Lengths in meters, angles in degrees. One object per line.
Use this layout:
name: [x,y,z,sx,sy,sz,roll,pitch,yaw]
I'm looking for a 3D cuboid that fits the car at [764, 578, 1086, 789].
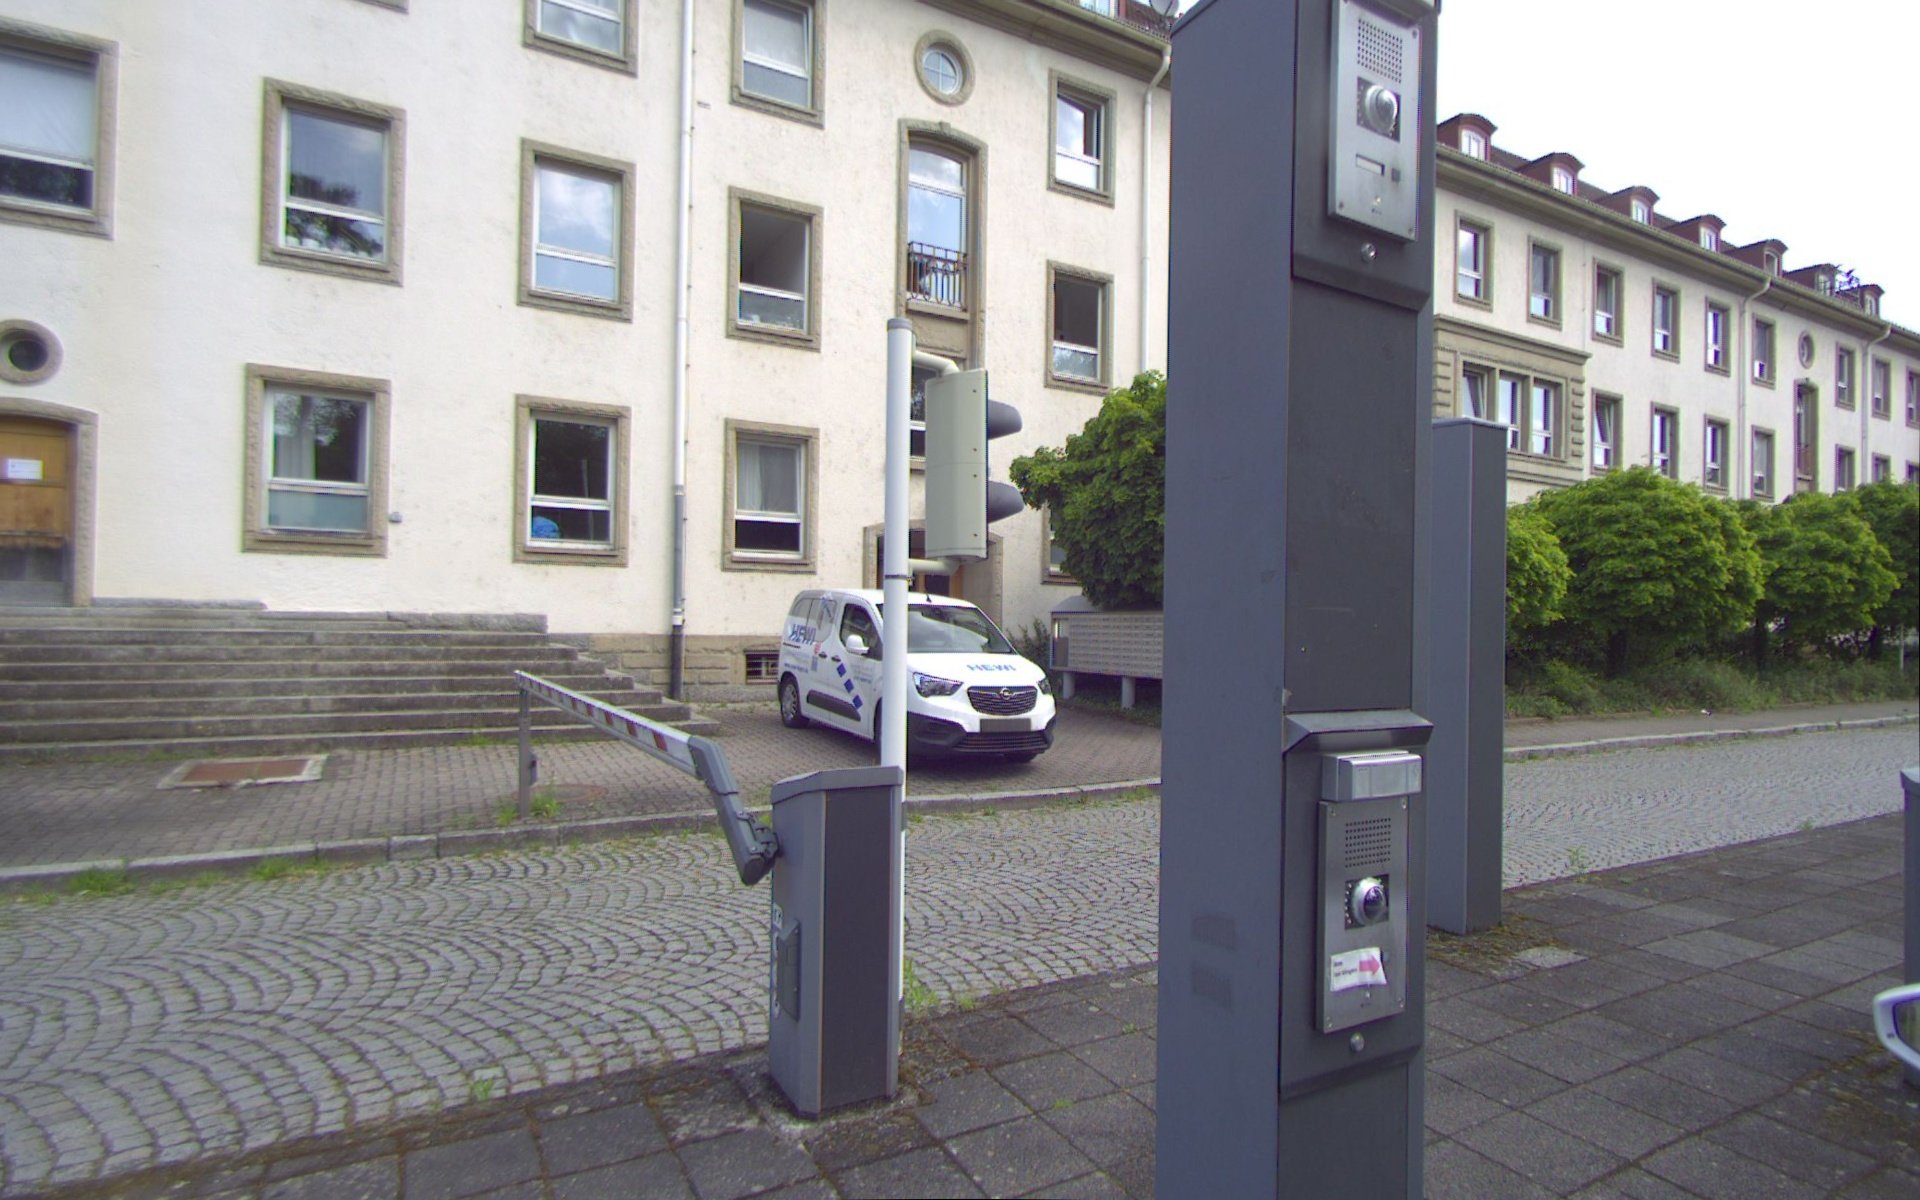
car: [-0.626,0.769,11.609,1.800,1.830,4.277,2,2,-31]
